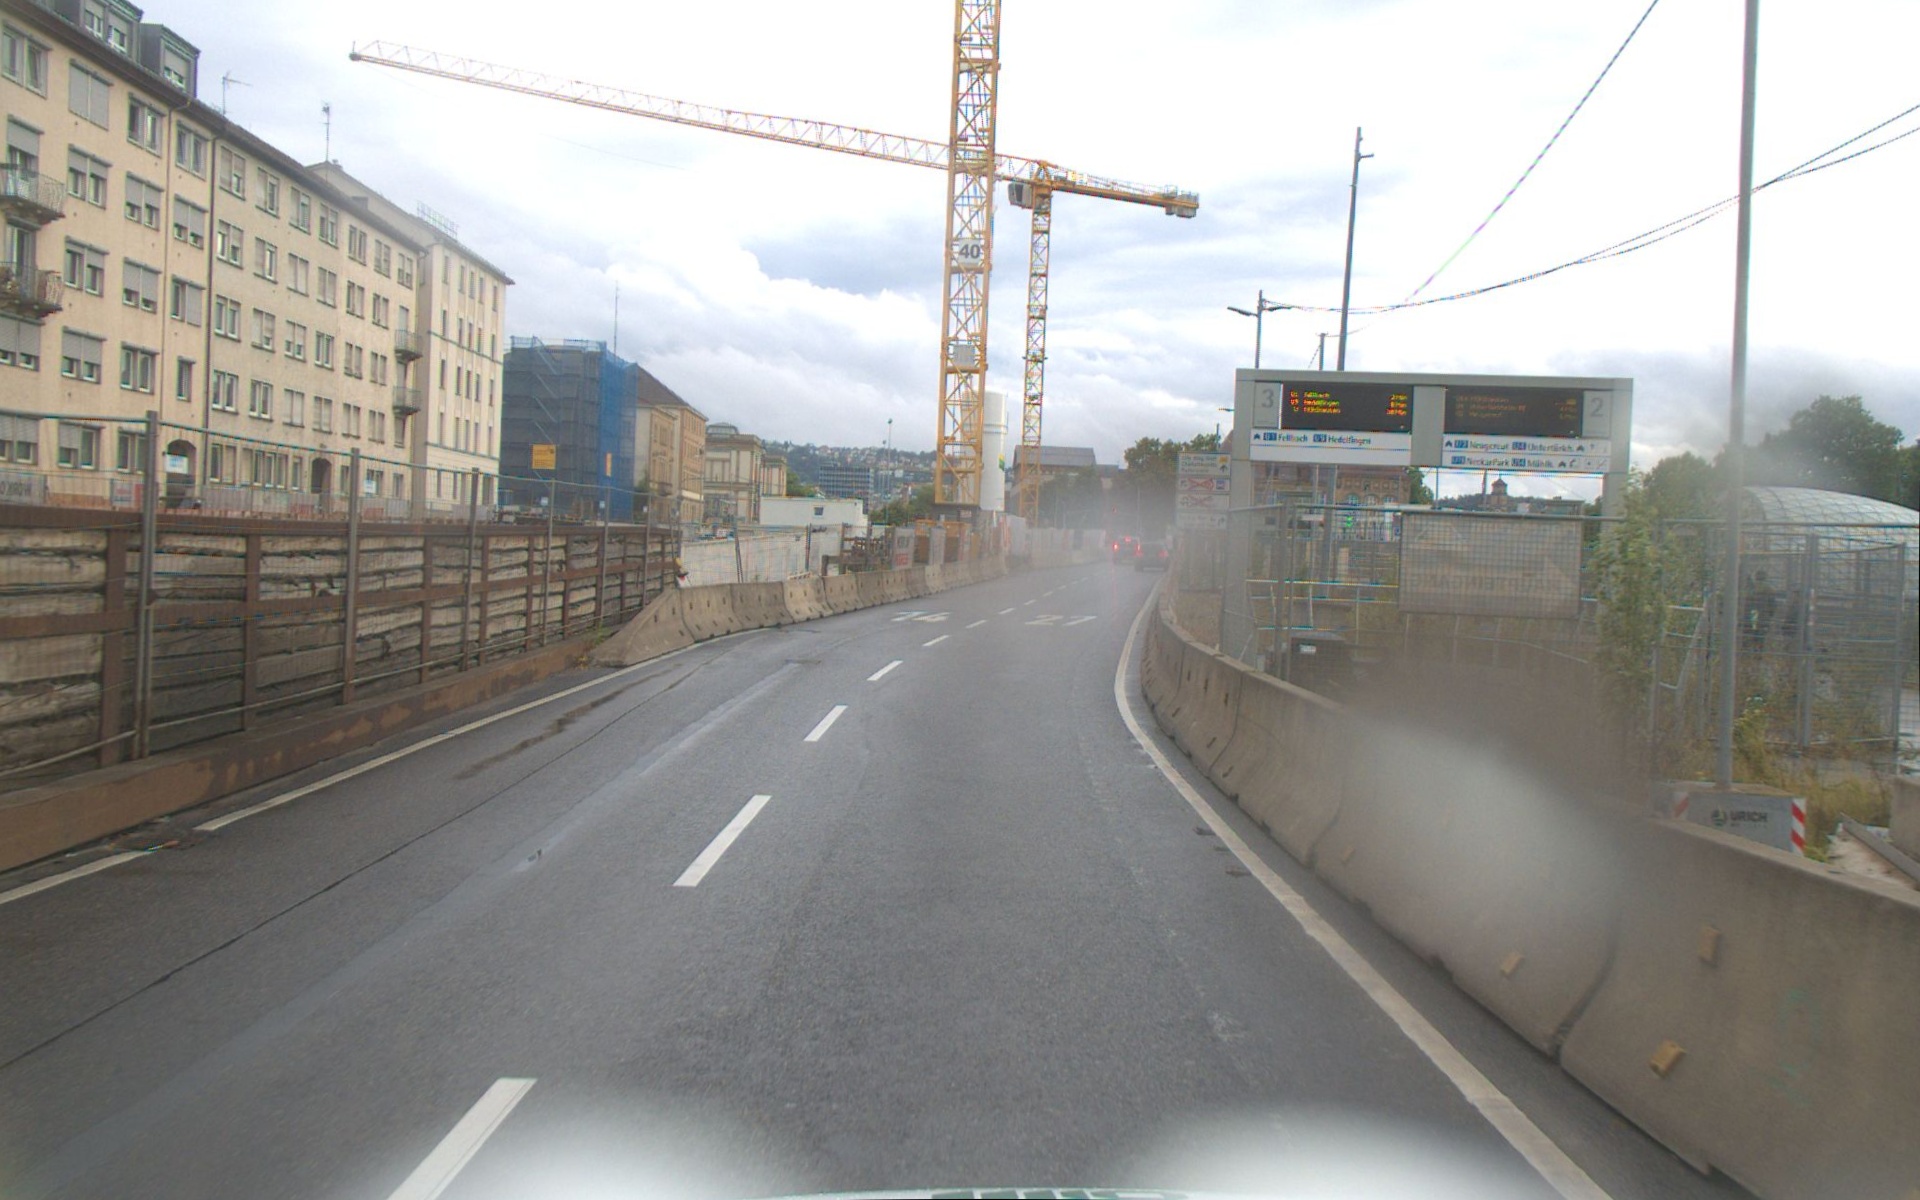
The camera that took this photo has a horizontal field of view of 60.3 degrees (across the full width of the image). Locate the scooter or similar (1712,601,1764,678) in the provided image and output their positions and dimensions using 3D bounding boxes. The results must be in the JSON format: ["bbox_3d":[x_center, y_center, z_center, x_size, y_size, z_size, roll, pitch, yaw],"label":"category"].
[{"bbox_3d":[13.004,0.648,27.662,0.480,1.200,1.097,2,2,10],"label":"scooter or similar"}]

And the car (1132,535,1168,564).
[{"bbox_3d":[9.852,-2.612,85.576,1.823,1.458,4.660,0,1,7],"label":"car"}]

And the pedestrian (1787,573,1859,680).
[{"bbox_3d":[15.017,0.451,28.799,0.711,1.809,1.023,2,1,3],"label":"pedestrian"}]

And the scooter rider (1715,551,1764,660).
[{"bbox_3d":[13.020,0.075,27.641,0.510,1.786,0.700,2,2,10],"label":"scooter rider"}]

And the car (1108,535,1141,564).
[{"bbox_3d":[10.436,-3.185,104.633,1.823,1.689,4.661,3,2,7],"label":"car"}]

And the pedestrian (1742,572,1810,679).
[{"bbox_3d":[14.255,0.429,28.910,0.675,1.809,1.023,2,1,4],"label":"pedestrian"}]
